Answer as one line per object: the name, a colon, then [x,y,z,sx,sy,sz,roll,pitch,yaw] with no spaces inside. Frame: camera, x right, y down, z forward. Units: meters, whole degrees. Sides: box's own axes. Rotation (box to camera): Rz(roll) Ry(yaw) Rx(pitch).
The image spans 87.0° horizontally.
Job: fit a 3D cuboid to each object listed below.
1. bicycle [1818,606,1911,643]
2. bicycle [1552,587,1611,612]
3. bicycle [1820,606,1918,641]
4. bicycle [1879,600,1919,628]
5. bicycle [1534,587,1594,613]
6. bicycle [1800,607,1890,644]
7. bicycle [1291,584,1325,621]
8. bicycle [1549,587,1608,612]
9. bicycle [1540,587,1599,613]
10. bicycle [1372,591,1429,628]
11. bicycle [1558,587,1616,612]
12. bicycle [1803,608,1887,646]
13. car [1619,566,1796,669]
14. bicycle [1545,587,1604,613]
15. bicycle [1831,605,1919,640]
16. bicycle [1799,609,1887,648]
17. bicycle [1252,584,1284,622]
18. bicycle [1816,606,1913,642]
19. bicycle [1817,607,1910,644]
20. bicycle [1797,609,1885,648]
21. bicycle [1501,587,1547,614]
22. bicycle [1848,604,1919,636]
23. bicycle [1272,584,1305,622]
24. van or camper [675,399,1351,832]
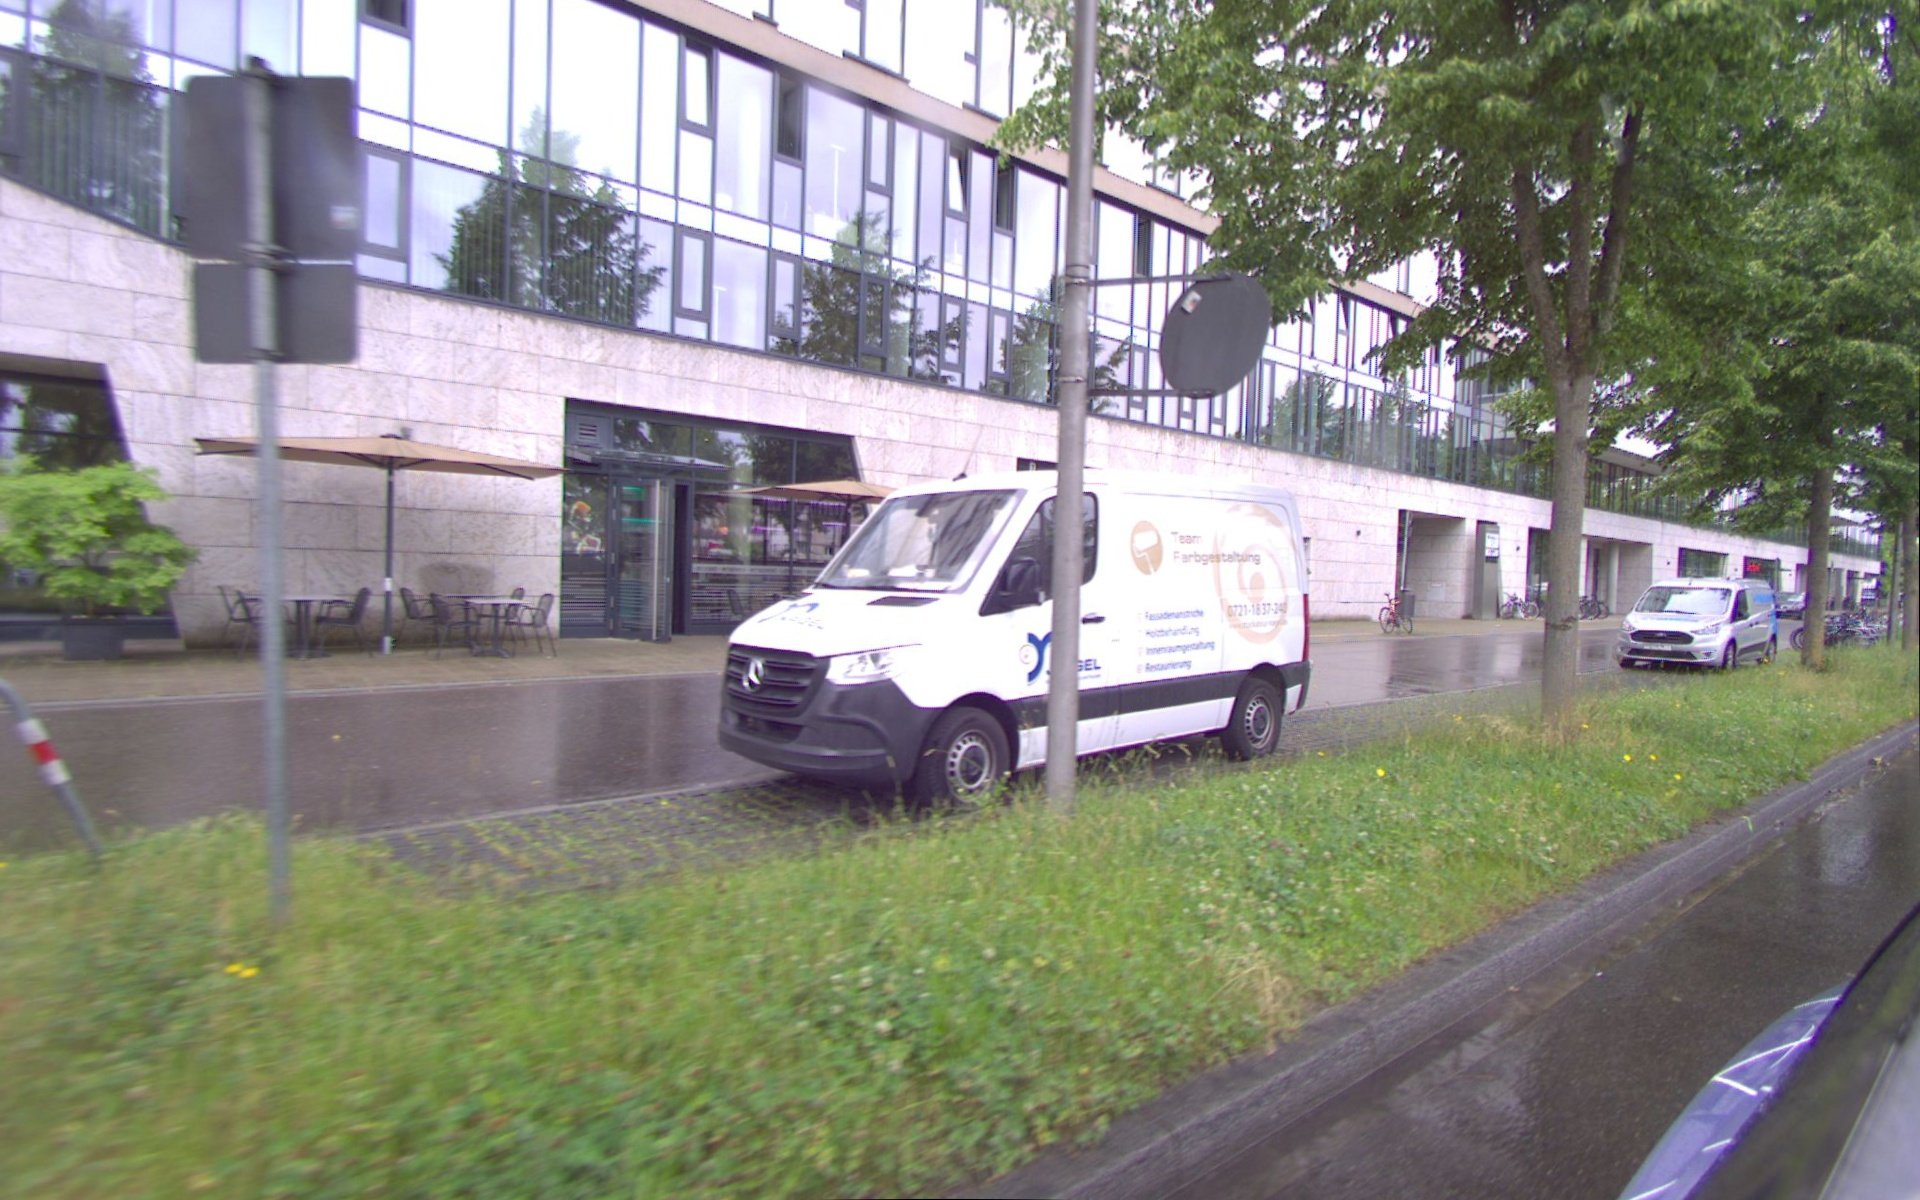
bicycle: [24.905,0.658,27.892,0.389,0.958,1.879,0,0,-43]
bicycle: [26.172,-0.031,42.644,0.389,0.957,2.026,0,3,-43]
bicycle: [25.580,0.647,28.510,0.389,0.958,2.037,0,0,-43]
bicycle: [32.769,0.470,34.556,0.510,0.958,2.037,0,0,-43]
bicycle: [24.469,-0.008,41.019,0.389,0.957,2.026,0,3,-43]
bicycle: [23.841,0.674,27.290,0.389,0.958,1.789,0,0,-43]
bicycle: [9.297,0.062,27.093,0.388,0.958,2.027,0,0,5]
bicycle: [25.821,-0.030,42.272,0.389,0.957,2.026,0,3,-43]
bicycle: [24.973,-0.011,41.491,0.389,0.957,2.026,0,3,-43]
bicycle: [11.624,0.238,26.687,1.822,0.957,0.403,0,1,-32]
bicycle: [26.695,-0.033,43.137,0.389,0.957,2.026,0,3,-43]
bicycle: [23.474,0.699,26.874,0.389,0.958,1.646,0,0,-43]
car: [14.748,0.269,19.862,4.763,1.781,1.745,-1,2,-40]
bicycle: [25.403,-0.014,41.885,0.389,0.957,2.026,0,3,-43]
bicycle: [26.612,0.632,29.338,0.389,0.958,2.037,0,0,-43]
bicycle: [22.988,0.722,26.363,0.389,0.958,1.695,0,0,-43]
bicycle: [8.097,0.072,26.669,0.388,0.958,2.027,0,0,5]
bicycle: [25.226,0.650,28.258,0.389,0.958,2.003,0,0,-43]
bicycle: [24.521,0.666,27.494,0.389,0.958,1.858,0,0,-43]
bicycle: [22.495,0.710,25.859,0.389,0.958,1.663,0,0,-43]
bicycle: [21.665,0.006,38.889,0.339,0.957,1.665,1,3,-21]
bicycle: [28.544,0.602,30.974,0.458,0.958,2.037,0,0,-43]
bicycle: [8.722,0.065,26.923,0.388,0.958,2.027,0,0,5]
van or camper: [0.731,0.032,7.938,5.364,2.320,2.030,-1,2,-40]
